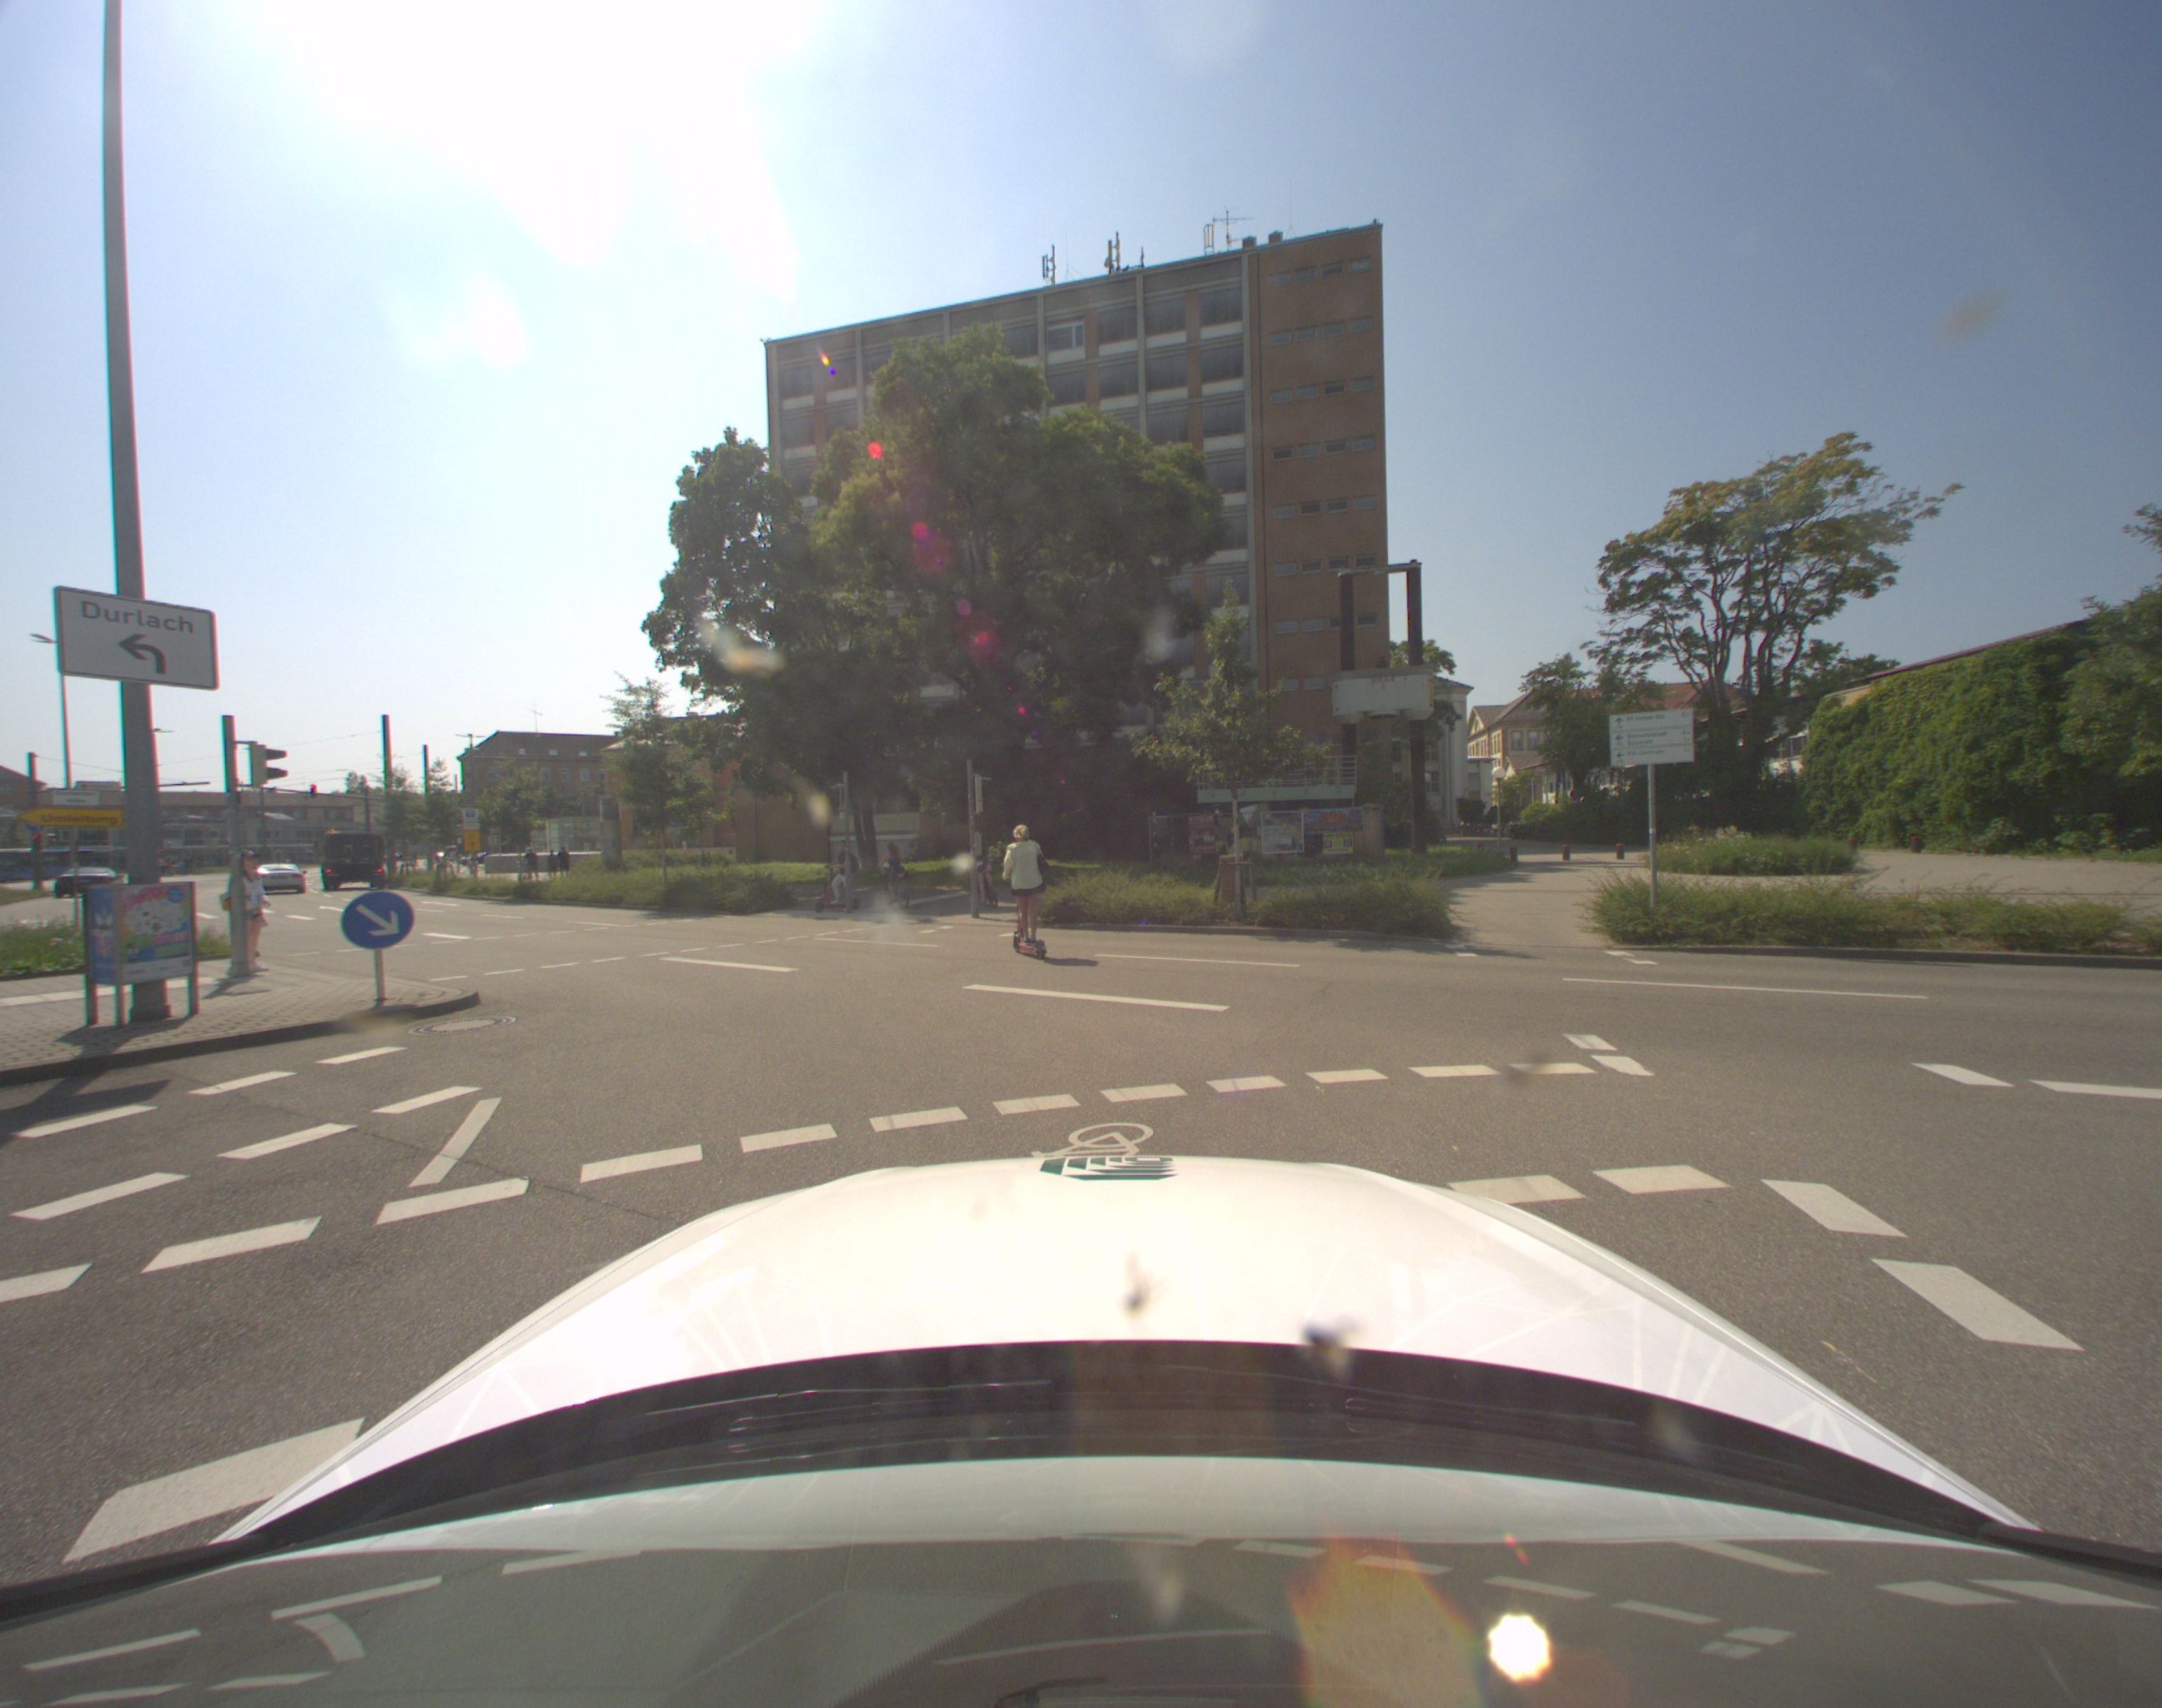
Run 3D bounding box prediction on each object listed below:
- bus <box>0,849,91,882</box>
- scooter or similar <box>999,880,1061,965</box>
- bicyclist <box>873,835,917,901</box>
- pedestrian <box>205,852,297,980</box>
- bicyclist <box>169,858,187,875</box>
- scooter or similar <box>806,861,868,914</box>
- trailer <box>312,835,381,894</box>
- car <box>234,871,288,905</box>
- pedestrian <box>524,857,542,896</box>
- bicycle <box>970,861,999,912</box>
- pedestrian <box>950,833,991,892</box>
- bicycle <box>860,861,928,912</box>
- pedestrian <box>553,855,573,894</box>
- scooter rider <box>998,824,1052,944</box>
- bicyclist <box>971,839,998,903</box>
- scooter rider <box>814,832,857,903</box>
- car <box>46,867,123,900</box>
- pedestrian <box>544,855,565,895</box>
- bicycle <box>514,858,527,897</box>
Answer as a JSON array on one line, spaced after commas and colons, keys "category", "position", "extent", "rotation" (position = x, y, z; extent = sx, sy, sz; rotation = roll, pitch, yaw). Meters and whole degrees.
[{"category": "bus", "position": [-100.419, 1.014, 77.910], "extent": [3.073, 2.930, 11.740], "rotation": [-2, 1, -29]}, {"category": "scooter or similar", "position": [-0.778, 0.936, 11.851], "extent": [0.557, 1.060, 1.995], "rotation": [-1, 0, -13]}, {"category": "bicyclist", "position": [-4.762, 0.345, 20.835], "extent": [0.696, 1.598, 0.834], "rotation": [-5, 4, -38]}, {"category": "pedestrian", "position": [-11.649, 0.839, 11.453], "extent": [0.702, 1.694, 0.601], "rotation": [-3, 2, -31]}, {"category": "bicyclist", "position": [-86.850, 1.201, 78.315], "extent": [0.854, 1.501, 0.912], "rotation": [-1, 1, 25]}, {"category": "scooter or similar", "position": [-6.250, 0.836, 20.872], "extent": [1.373, 1.234, 0.579], "rotation": [-3, 2, -34]}, {"category": "trailer", "position": [-40.375, 0.535, 44.730], "extent": [6.247, 3.007, 2.485], "rotation": [0, 0, 45]}, {"category": "car", "position": [-40.099, 1.623, 39.837], "extent": [4.370, 1.455, 1.774], "rotation": [0, 1, 44]}, {"category": "pedestrian", "position": [-27.032, 1.097, 40.158], "extent": [0.664, 1.860, 0.785], "rotation": [-2, 1, -32]}, {"category": "bicycle", "position": [-2.368, 0.767, 20.181], "extent": [0.555, 1.059, 2.002], "rotation": [-3, 3, -4]}, {"category": "pedestrian", "position": [-3.313, 0.239, 24.391], "extent": [0.868, 1.704, 0.712], "rotation": [-1, 3, 32]}, {"category": "bicycle", "position": [-4.849, 0.794, 20.991], "extent": [0.699, 1.154, 2.344], "rotation": [-5, 3, -39]}, {"category": "pedestrian", "position": [-26.457, 1.033, 41.593], "extent": [0.783, 1.972, 0.746], "rotation": [-2, 1, -32]}, {"category": "scooter rider", "position": [-0.836, 0.428, 12.047], "extent": [0.671, 1.699, 0.537], "rotation": [-2, 0, -13]}, {"category": "bicyclist", "position": [-2.370, 0.398, 20.041], "extent": [0.547, 1.496, 0.803], "rotation": [-2, 2, -4]}, {"category": "scooter rider", "position": [-6.263, 0.339, 20.798], "extent": [0.808, 1.739, 0.681], "rotation": [-3, 2, -34]}, {"category": "car", "position": [-48.005, 1.402, 39.315], "extent": [1.773, 1.404, 3.933], "rotation": [-1, 1, -42]}, {"category": "pedestrian", "position": [-26.267, 1.037, 40.647], "extent": [0.783, 1.972, 0.746], "rotation": [-2, 1, -32]}, {"category": "bicycle", "position": [-27.273, 1.120, 39.644], "extent": [0.459, 1.860, 1.348], "rotation": [-2, 1, -34]}]
